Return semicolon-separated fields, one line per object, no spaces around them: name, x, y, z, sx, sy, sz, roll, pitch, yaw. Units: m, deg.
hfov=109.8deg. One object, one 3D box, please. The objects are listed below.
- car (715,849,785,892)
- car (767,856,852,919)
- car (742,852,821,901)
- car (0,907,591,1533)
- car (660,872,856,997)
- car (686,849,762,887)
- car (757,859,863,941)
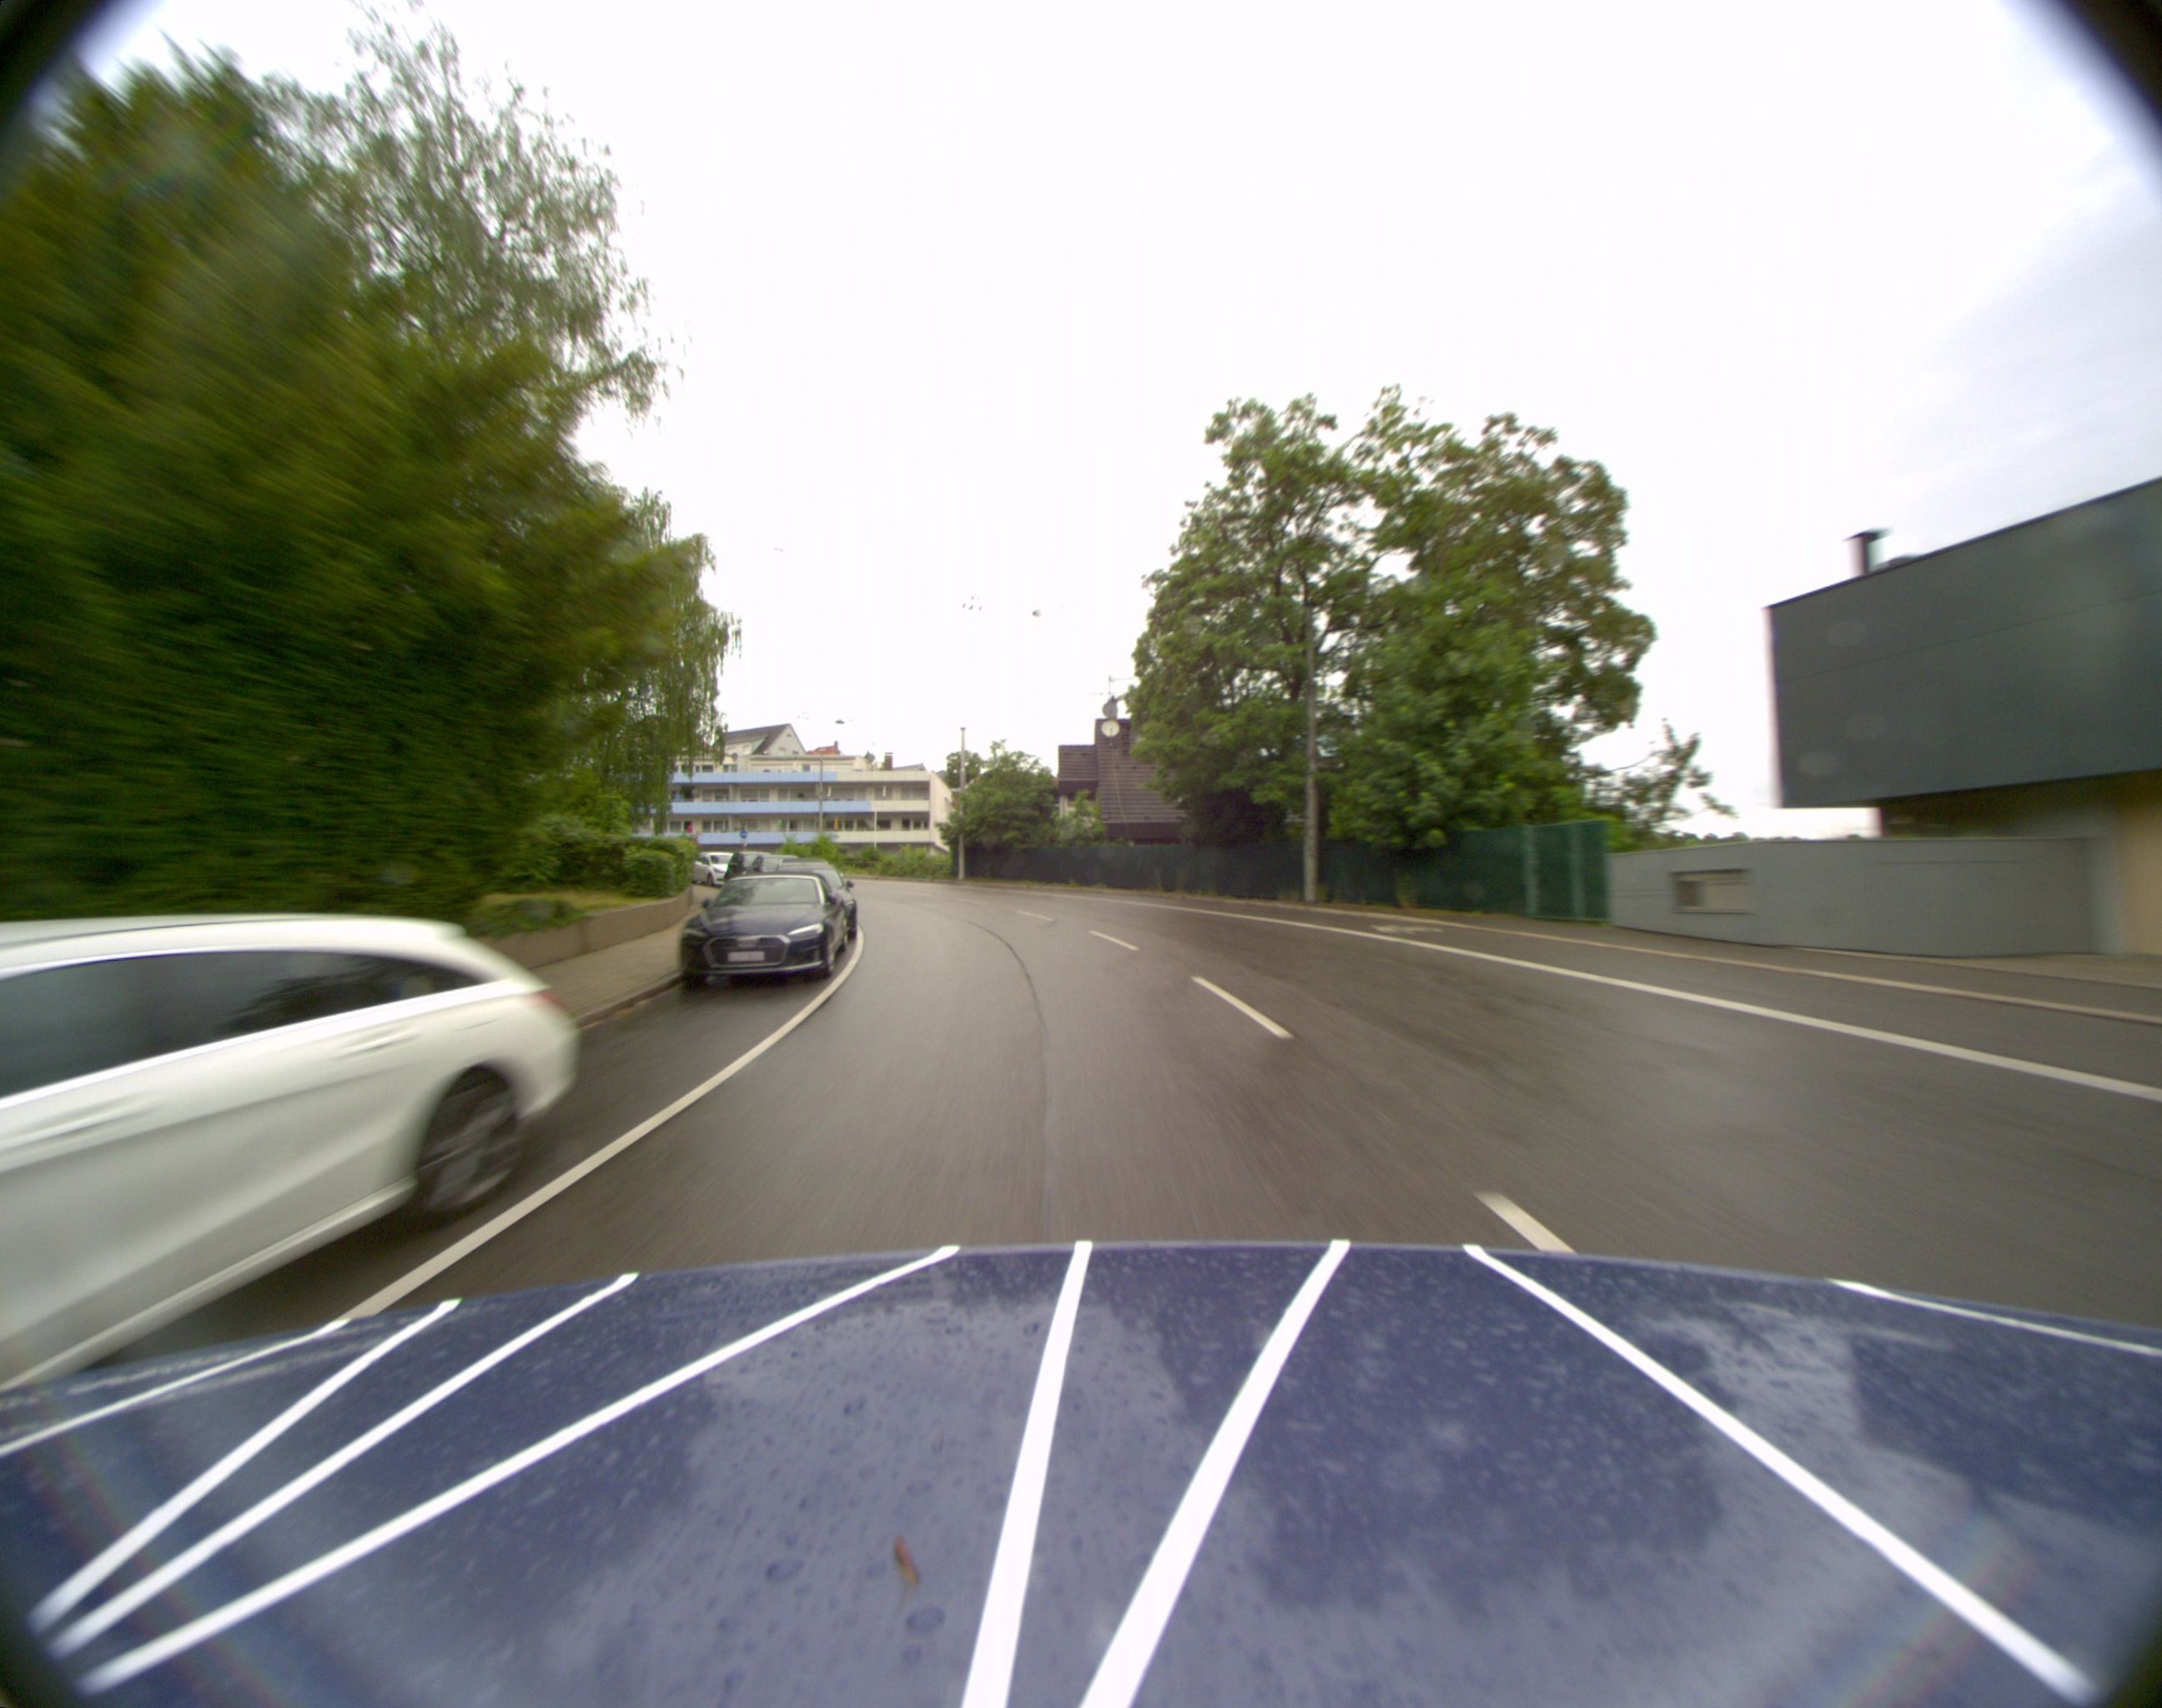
car;-12.734;0.605;29.103;1.629;1.496;3.595;4;-2;-36
car;-7.367;0.848;20.410;1.690;1.462;3.731;4;-2;-26
car;-9.974;0.697;25.126;1.724;1.426;4.059;4;-2;-31
car;-3.681;1.024;1.951;1.783;1.427;4.569;2;0;1
car;-4.500;1.029;11.319;1.814;1.340;4.614;2;0;-12
car;-15.551;0.570;33.000;1.736;1.455;4.019;5;-2;-43
car;-5.763;0.886;16.262;1.815;1.427;4.523;2;0;-19
